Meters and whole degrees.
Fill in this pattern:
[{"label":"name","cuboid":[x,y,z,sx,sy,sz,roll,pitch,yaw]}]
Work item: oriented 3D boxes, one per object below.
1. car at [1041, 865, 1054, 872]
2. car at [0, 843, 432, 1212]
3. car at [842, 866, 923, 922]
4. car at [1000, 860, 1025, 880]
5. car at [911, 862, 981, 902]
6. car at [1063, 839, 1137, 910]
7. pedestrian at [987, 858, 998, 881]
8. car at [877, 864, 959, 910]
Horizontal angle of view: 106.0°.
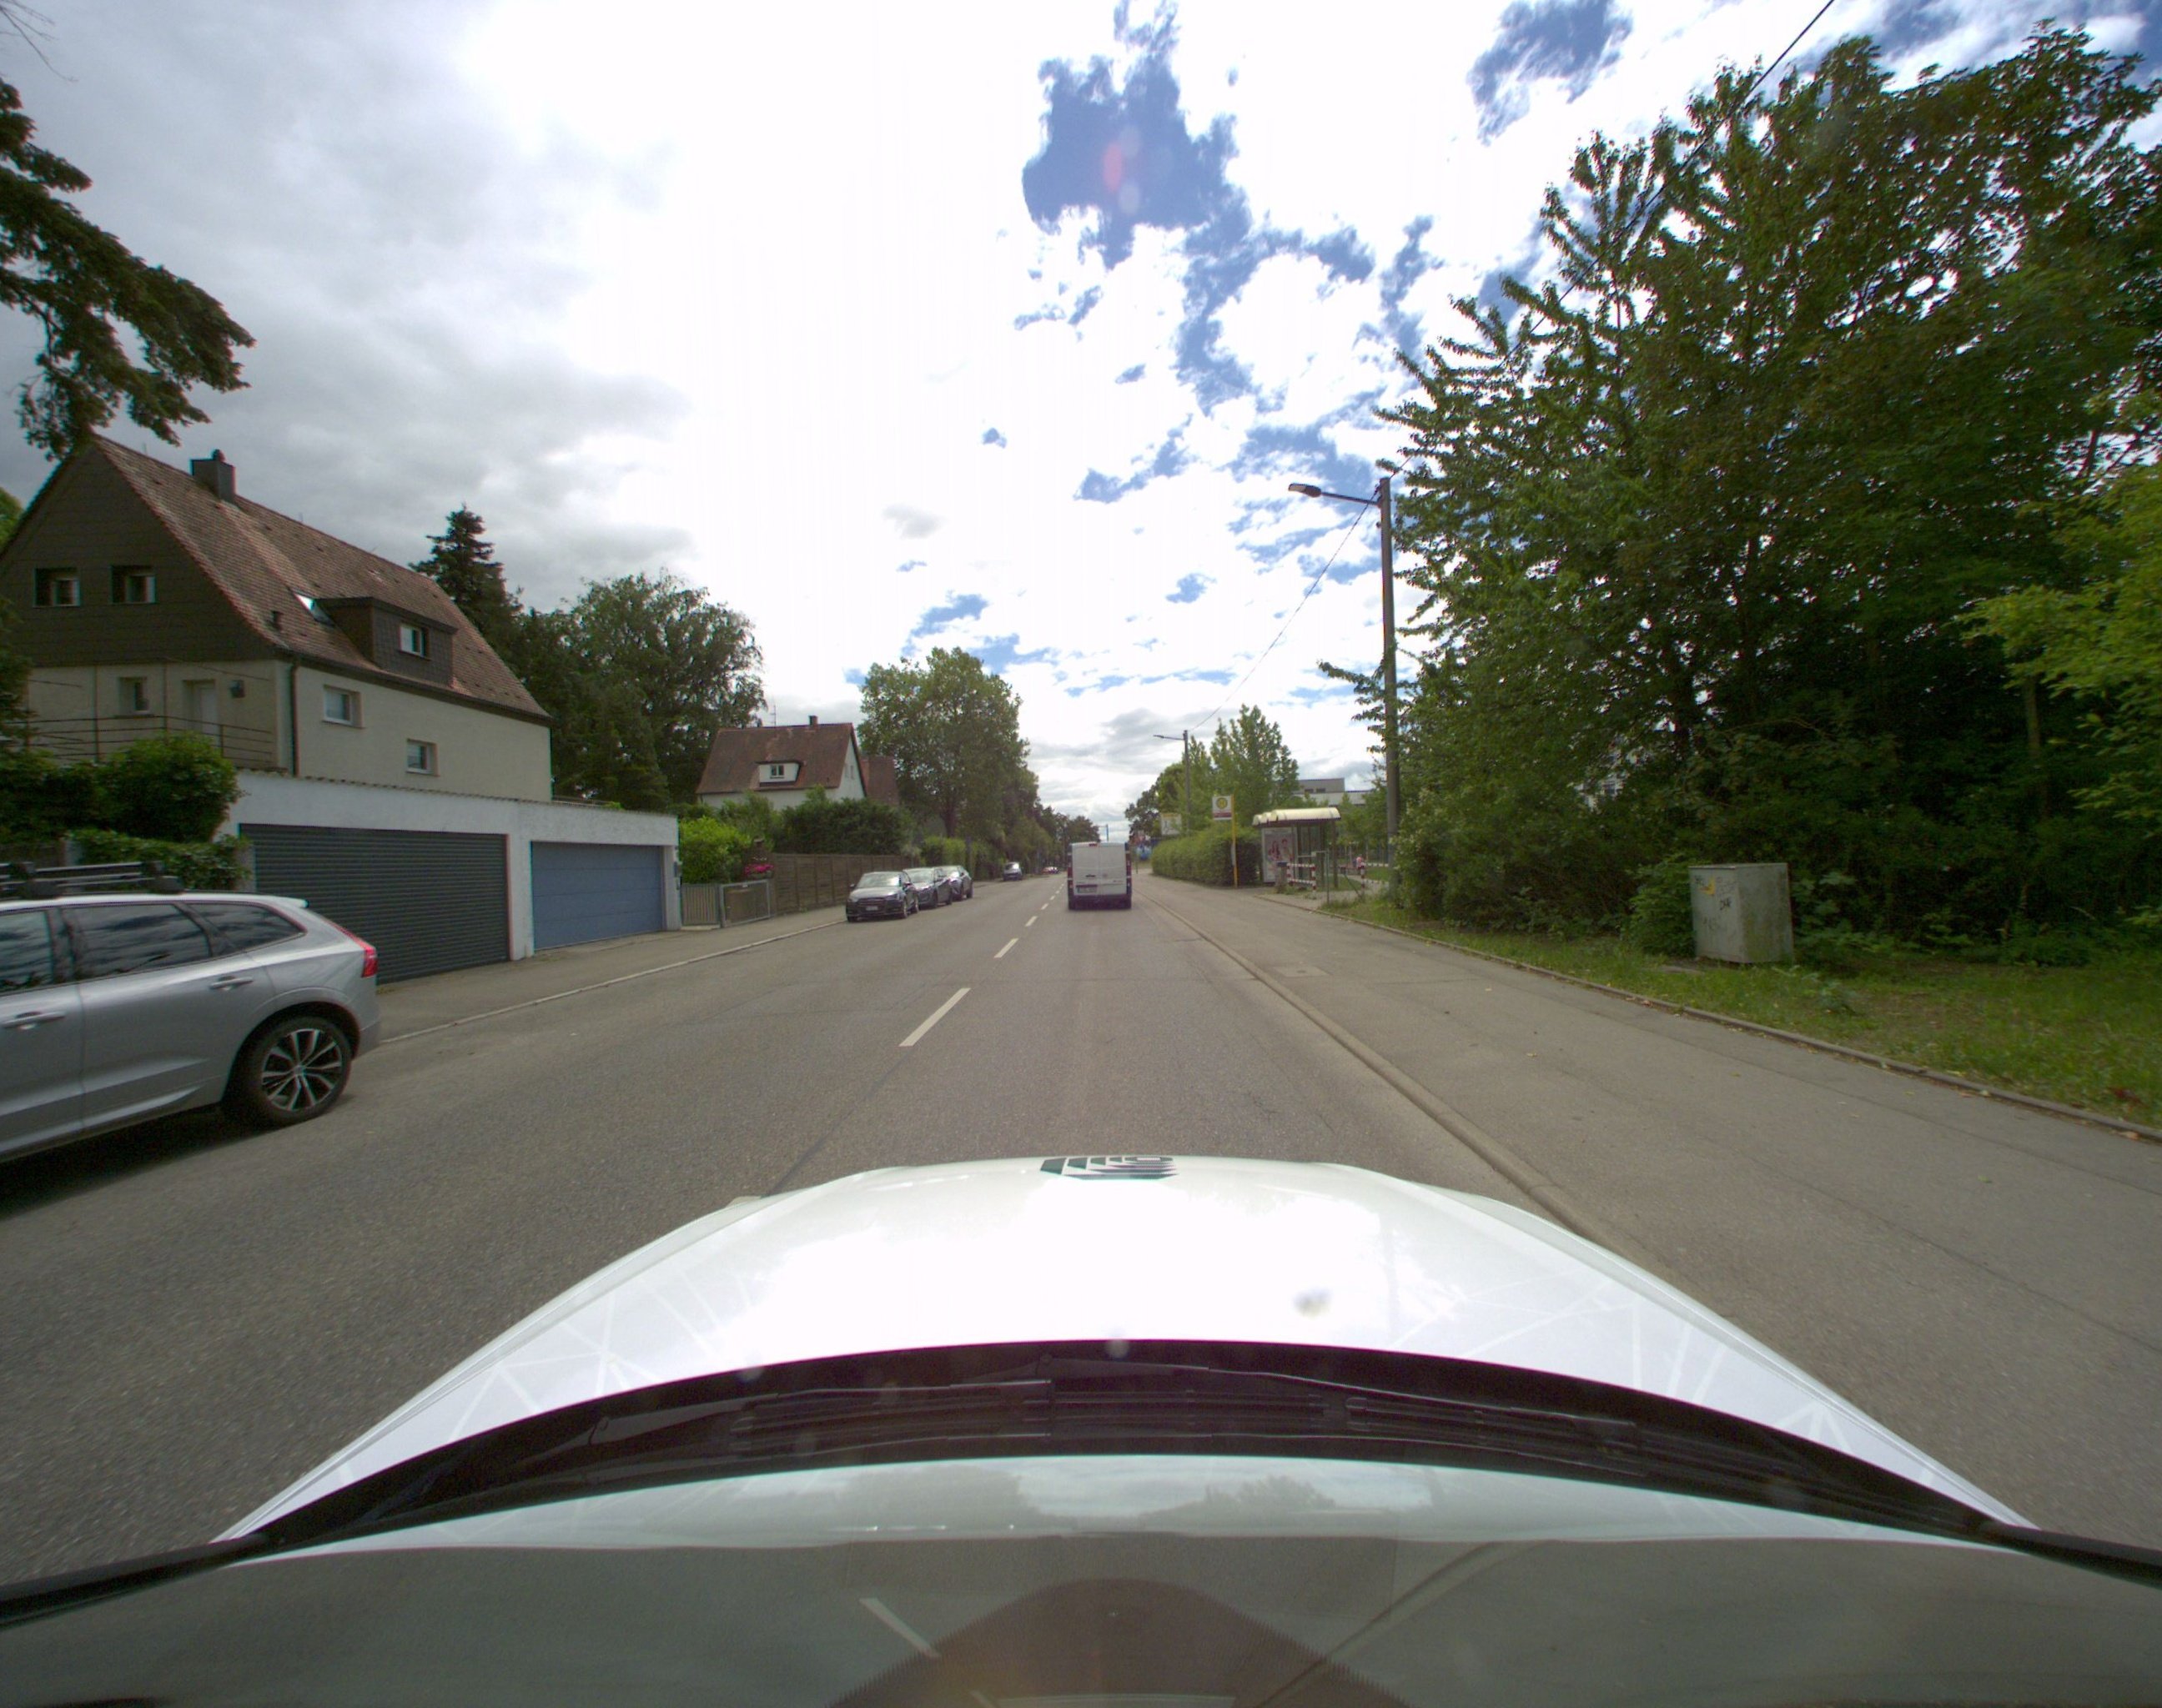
[{"label":"car","cuboid":[-6.810,2.926,164.052,2.062,1.386,4.034,-2,0,-9]},{"label":"car","cuboid":[-6.339,0.894,4.236,1.977,1.819,4.709,-2,0,2]},{"label":"car","cuboid":[-6.017,1.176,25.125,1.647,1.427,3.901,-3,0,-3]},{"label":"car","cuboid":[-6.270,1.443,74.395,2.130,1.772,4.454,-1,0,-7]},{"label":"car","cuboid":[-5.793,1.161,35.569,1.985,1.479,4.651,-4,0,3]},{"label":"car","cuboid":[0.522,0.578,25.307,2.028,1.945,4.992,-1,0,0]},{"label":"pedestrian","cuboid":[-7.924,1.385,73.024,0.870,2.013,1.039,-4,-1,-4]},{"label":"car","cuboid":[-5.874,1.155,29.932,1.860,1.459,4.491,-3,0,2]}]
